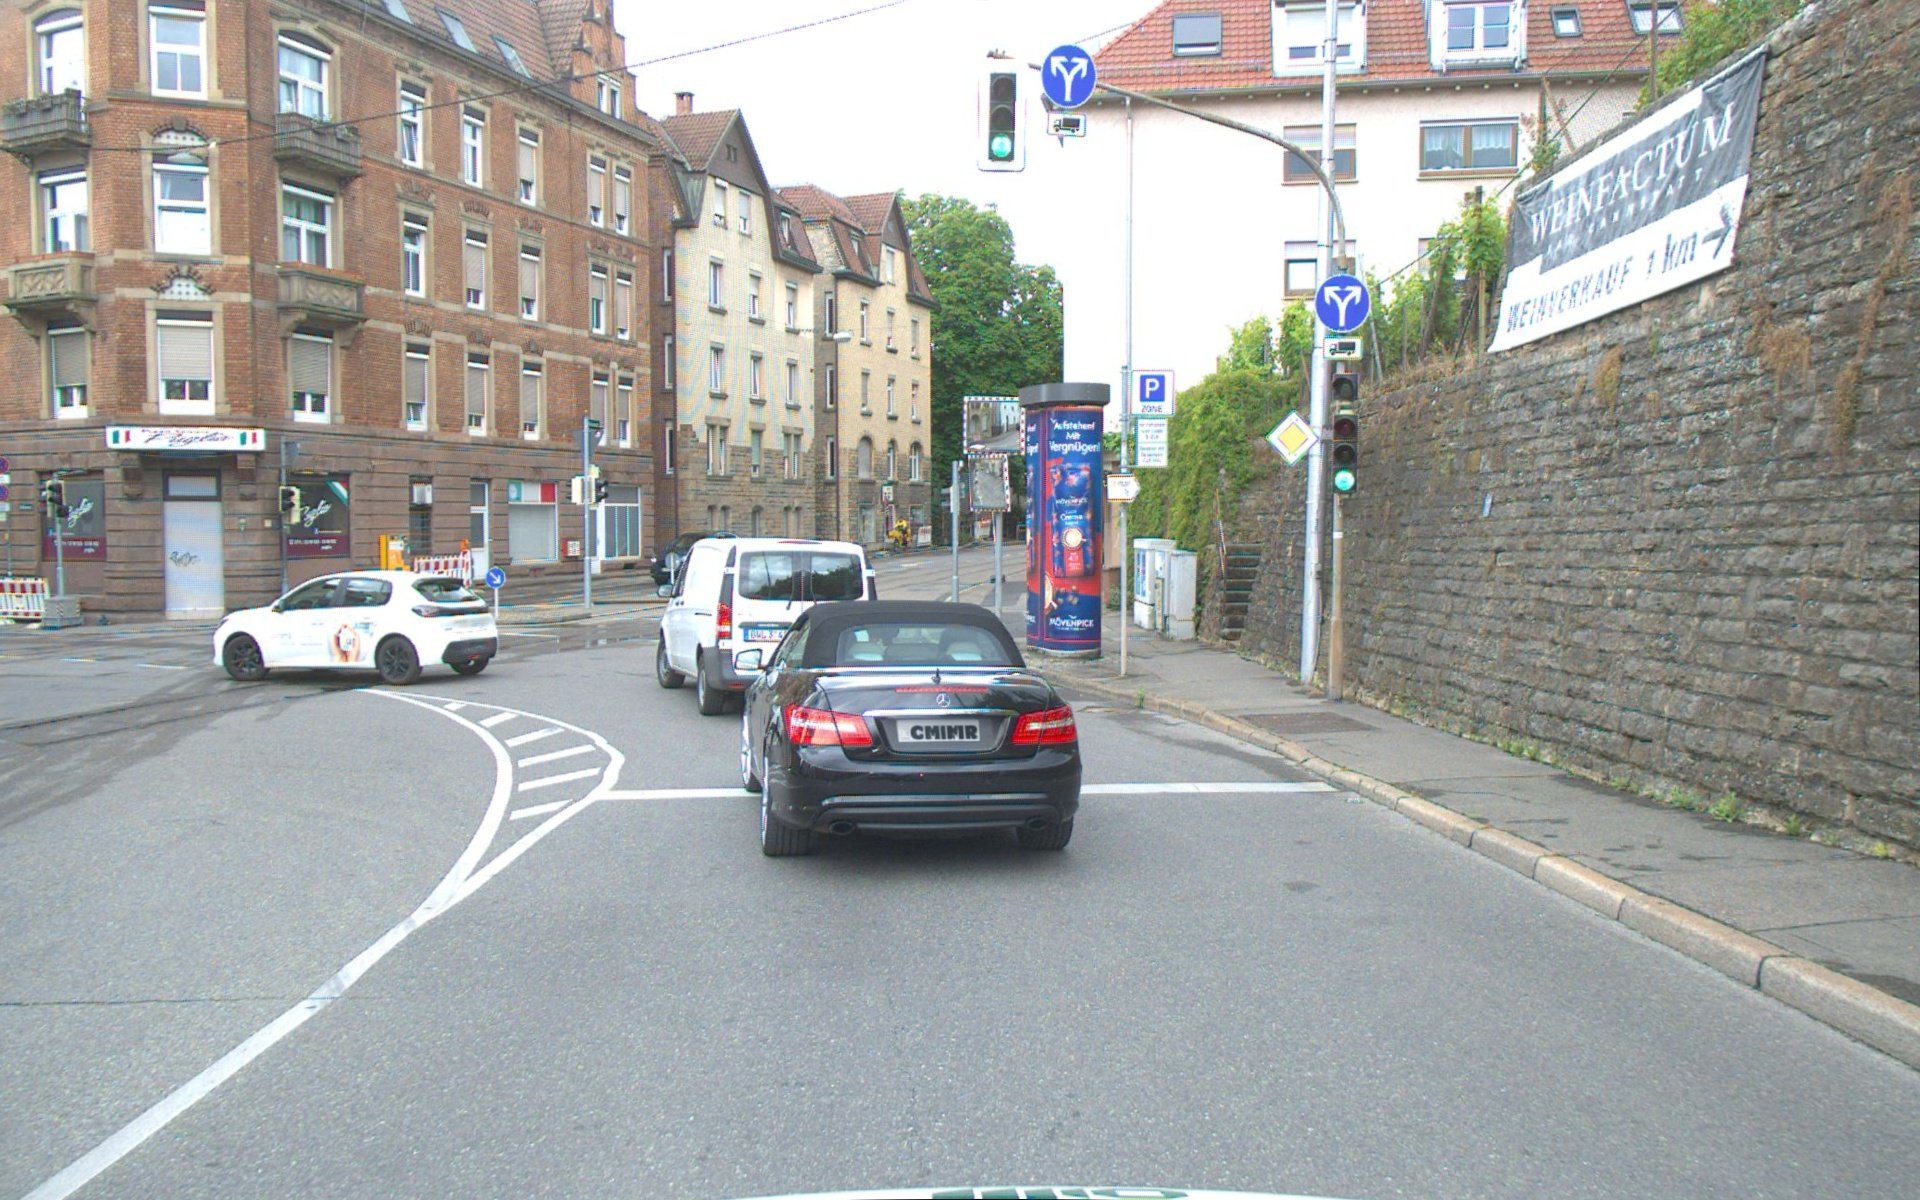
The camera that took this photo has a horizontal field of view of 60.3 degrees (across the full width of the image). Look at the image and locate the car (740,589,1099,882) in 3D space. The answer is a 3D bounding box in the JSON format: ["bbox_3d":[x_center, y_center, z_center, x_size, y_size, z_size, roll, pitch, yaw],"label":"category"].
[{"bbox_3d":[-0.479,0.662,10.539,1.729,1.434,4.389,-1,0,-9],"label":"car"}]

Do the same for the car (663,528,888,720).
[{"bbox_3d":[-2.299,0.229,19.427,1.861,1.962,4.624,-1,0,-16],"label":"car"}]

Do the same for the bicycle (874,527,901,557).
[{"bbox_3d":[-3.397,-2.766,78.103,0.618,1.328,2.602,-4,2,10],"label":"bicycle"}]

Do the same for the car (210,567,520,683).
[{"bbox_3d":[-8.132,0.330,22.639,3.825,1.492,1.686,-1,0,21],"label":"car"}]

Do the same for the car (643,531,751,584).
[{"bbox_3d":[-8.644,-1.436,54.766,1.951,1.541,4.291,-1,3,15],"label":"car"}]

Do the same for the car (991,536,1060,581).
[{"bbox_3d":[2.830,-1.805,71.001,1.908,1.748,4.003,-2,2,18],"label":"car"}]

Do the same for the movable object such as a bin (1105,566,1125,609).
[{"bbox_3d":[3.430,-0.278,36.616,0.337,0.927,0.494,0,0,-6],"label":"movable object such as a bin"}]
